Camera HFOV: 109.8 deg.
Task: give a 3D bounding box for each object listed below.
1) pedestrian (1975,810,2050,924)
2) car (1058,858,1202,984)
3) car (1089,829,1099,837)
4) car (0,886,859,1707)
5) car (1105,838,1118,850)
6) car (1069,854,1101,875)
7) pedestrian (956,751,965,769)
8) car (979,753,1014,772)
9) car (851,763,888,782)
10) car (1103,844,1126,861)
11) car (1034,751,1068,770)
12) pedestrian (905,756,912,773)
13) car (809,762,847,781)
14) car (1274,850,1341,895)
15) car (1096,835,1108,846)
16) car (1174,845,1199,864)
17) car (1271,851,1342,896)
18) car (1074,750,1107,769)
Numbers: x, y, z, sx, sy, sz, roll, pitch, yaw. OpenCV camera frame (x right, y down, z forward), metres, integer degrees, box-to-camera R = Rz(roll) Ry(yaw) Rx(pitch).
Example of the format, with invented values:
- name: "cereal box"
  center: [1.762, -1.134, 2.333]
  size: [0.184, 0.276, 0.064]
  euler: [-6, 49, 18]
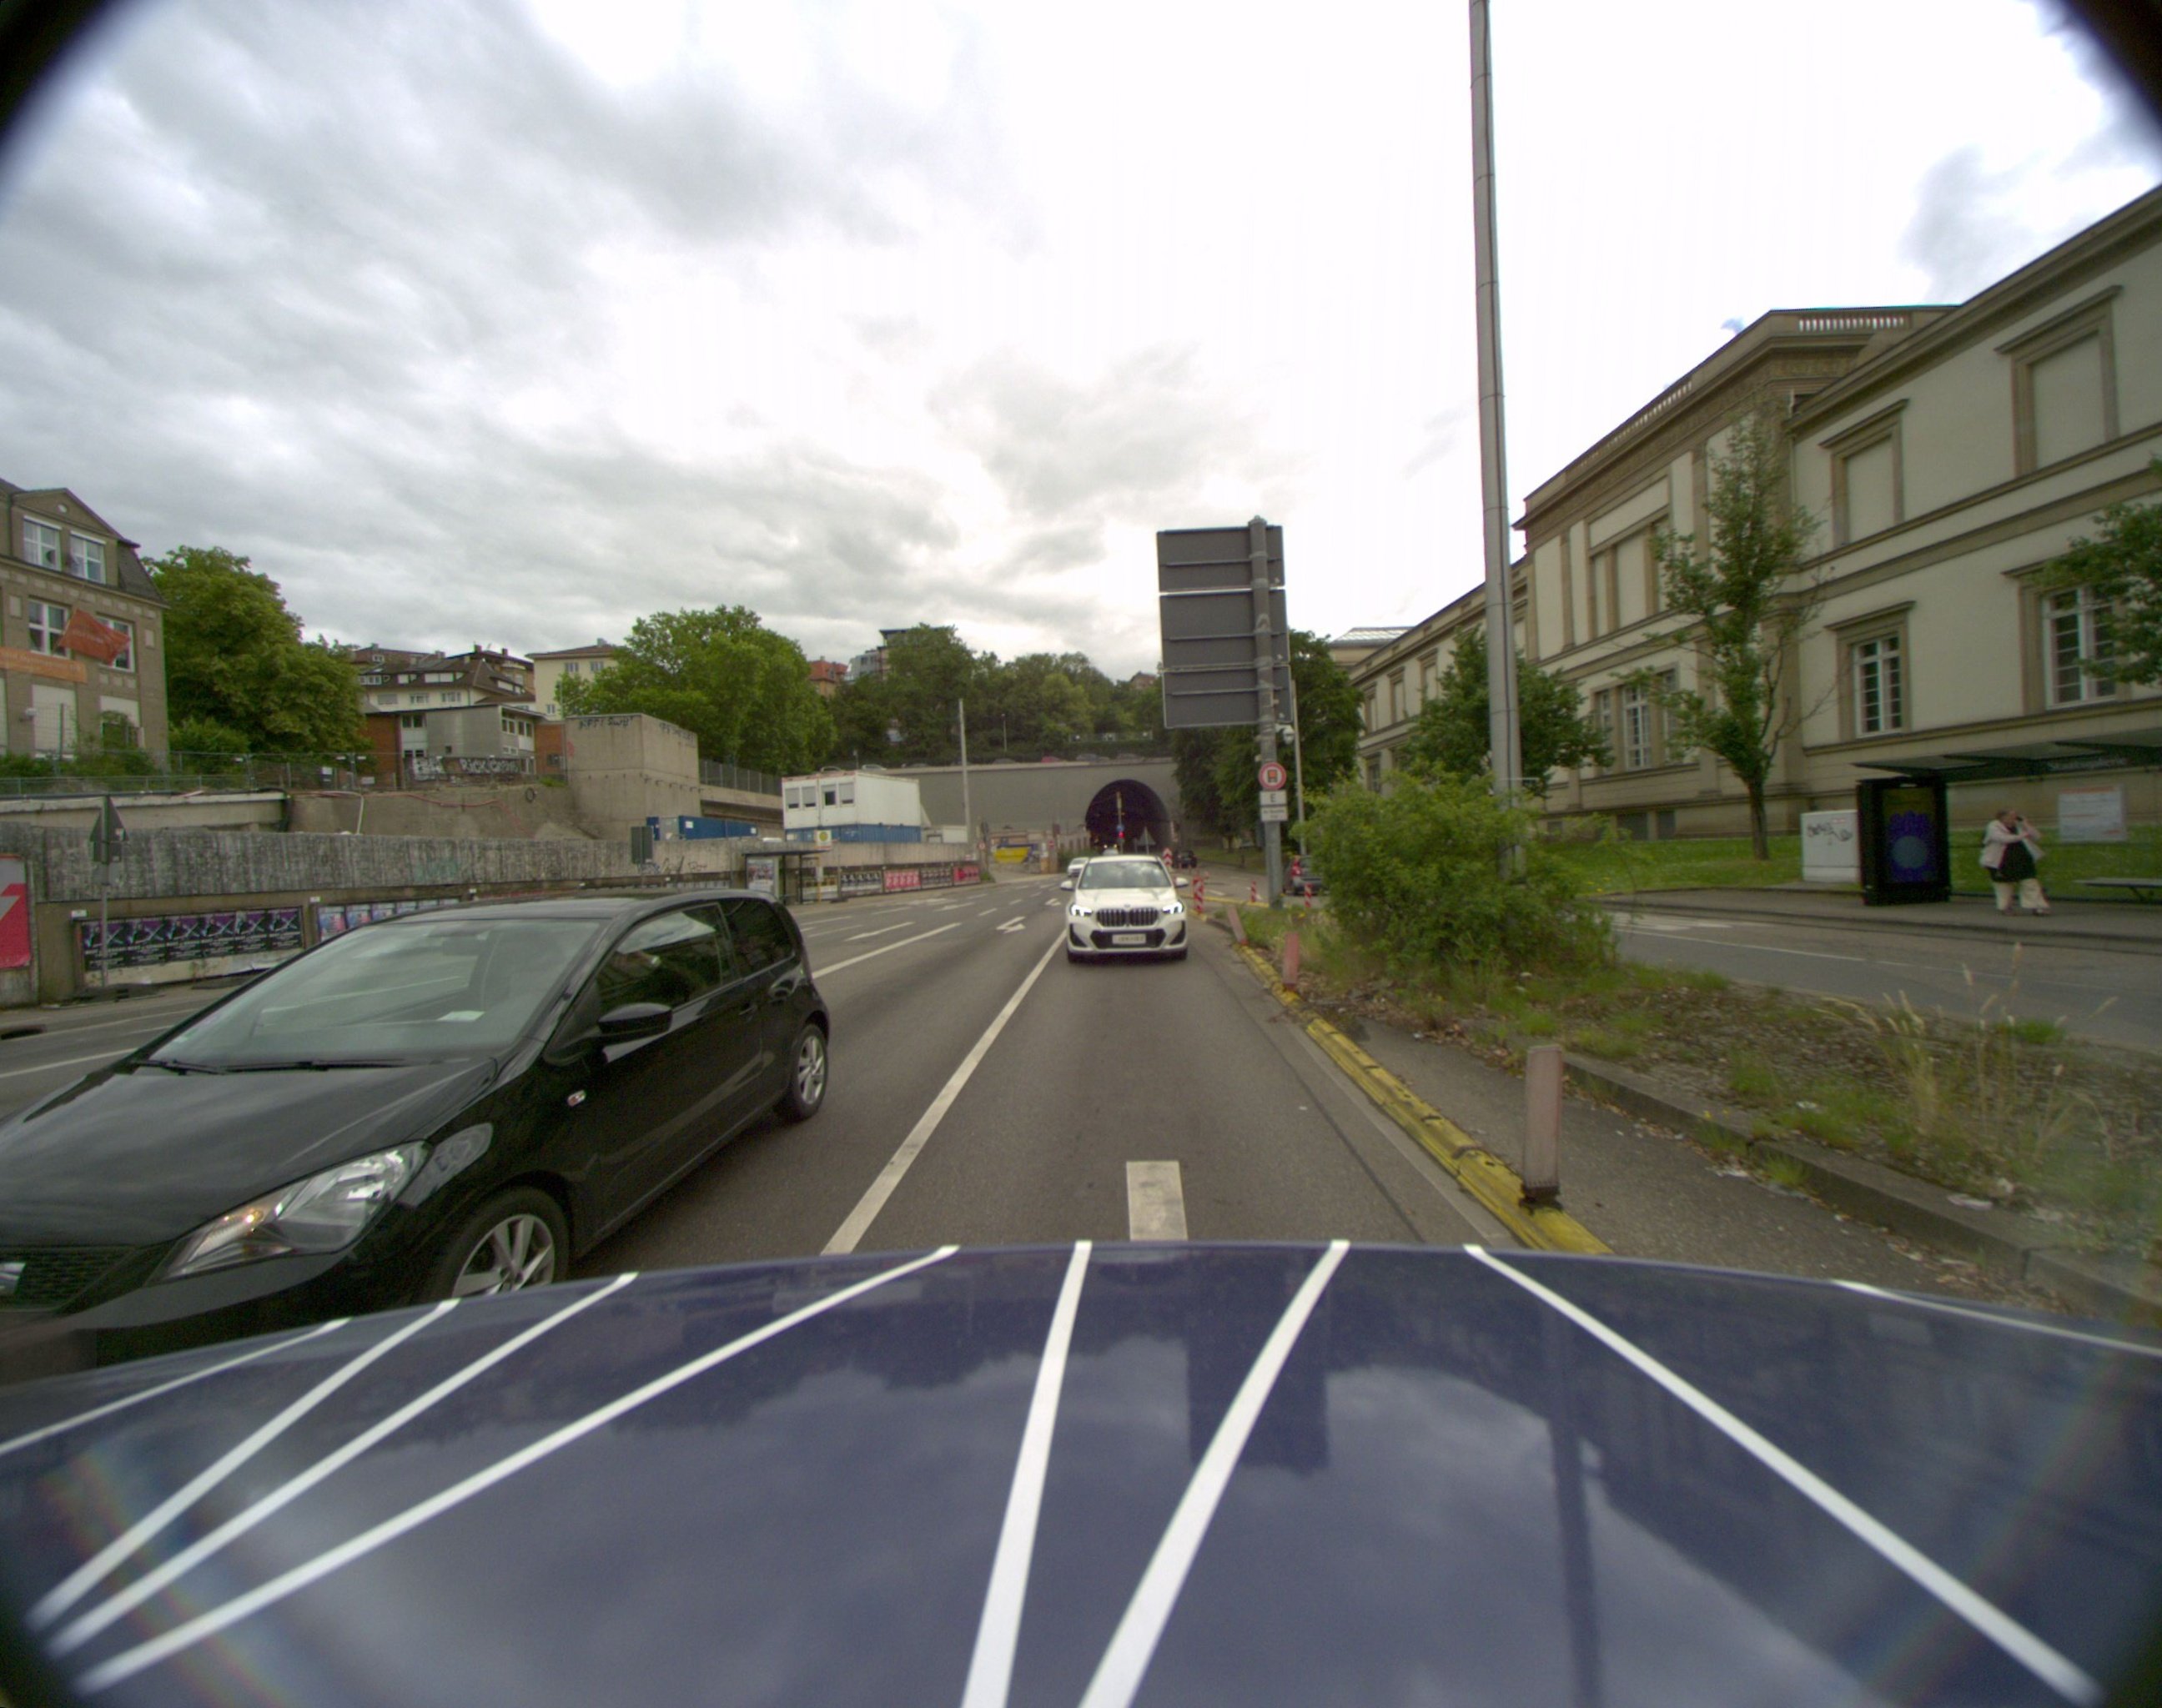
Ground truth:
- name: "pedestrian"
  center: [14.139, 0.200, 11.547]
  size: [0.586, 1.685, 0.459]
  euler: [-2, 1, 35]
- name: "car"
  center: [0.715, 0.906, 12.079]
  size: [1.848, 1.581, 3.882]
  euler: [-3, 0, 2]
- name: "car"
  center: [2.470, -3.890, 141.355]
  size: [1.728, 1.310, 4.000]
  euler: [-3, 0, 1]
- name: "car"
  center: [-2.512, 1.012, 3.473]
  size: [1.667, 1.487, 3.882]
  euler: [-3, 0, 2]
- name: "car"
  center: [4.098, -1.323, 102.931]
  size: [1.704, 1.550, 4.551]
  euler: [-3, 0, 2]
- name: "car"
  center: [0.373, 0.842, 60.369]
  size: [1.662, 1.471, 4.003]
  euler: [-3, 0, 12]
- name: "pedestrian"
  center: [-14.473, -11.296, 91.024]
  size: [0.851, 2.002, 0.906]
  euler: [-3, 1, -3]
- name: "car"
  center: [-10.423, -11.311, 94.018]
  size: [3.998, 2.002, 1.999]
  euler: [-2, 1, -2]
- name: "car"
  center: [-25.954, -9.988, 93.389]
  size: [3.998, 2.002, 1.999]
  euler: [-2, 1, -5]
- name: "car"
  center: [3.485, -0.179, 78.259]
  size: [1.825, 1.562, 4.656]
  euler: [-3, 0, 7]
- name: "car"
  center: [-3.716, -11.558, 94.411]
  size: [3.998, 2.002, 1.999]
  euler: [-2, 1, -2]
- name: "pedestrian"
  center: [-21.316, -11.049, 93.833]
  size: [0.581, 2.002, 0.577]
  euler: [-2, 1, -3]
- name: "car"
  center: [-31.003, -10.177, 93.327]
  size: [3.998, 2.002, 1.999]
  euler: [-2, 1, -5]
- name: "car"
  center: [8.406, 0.650, 28.446]
  size: [1.539, 1.542, 2.823]
  euler: [-2, 0, -2]
- name: "car"
  center: [3.282, -2.109, 120.100]
  size: [1.705, 1.550, 4.550]
  euler: [-3, 0, 1]
- name: "car"
  center: [8.949, 0.045, 64.629]
  size: [1.667, 1.581, 3.882]
  euler: [-1, 0, 2]
- name: "car"
  center: [8.547, 0.682, 29.093]
  size: [1.667, 1.581, 3.882]
  euler: [-1, 0, 2]
- name: "car"
  center: [1.162, -11.735, 94.494]
  size: [3.998, 2.002, 1.999]
  euler: [-2, 1, -2]
